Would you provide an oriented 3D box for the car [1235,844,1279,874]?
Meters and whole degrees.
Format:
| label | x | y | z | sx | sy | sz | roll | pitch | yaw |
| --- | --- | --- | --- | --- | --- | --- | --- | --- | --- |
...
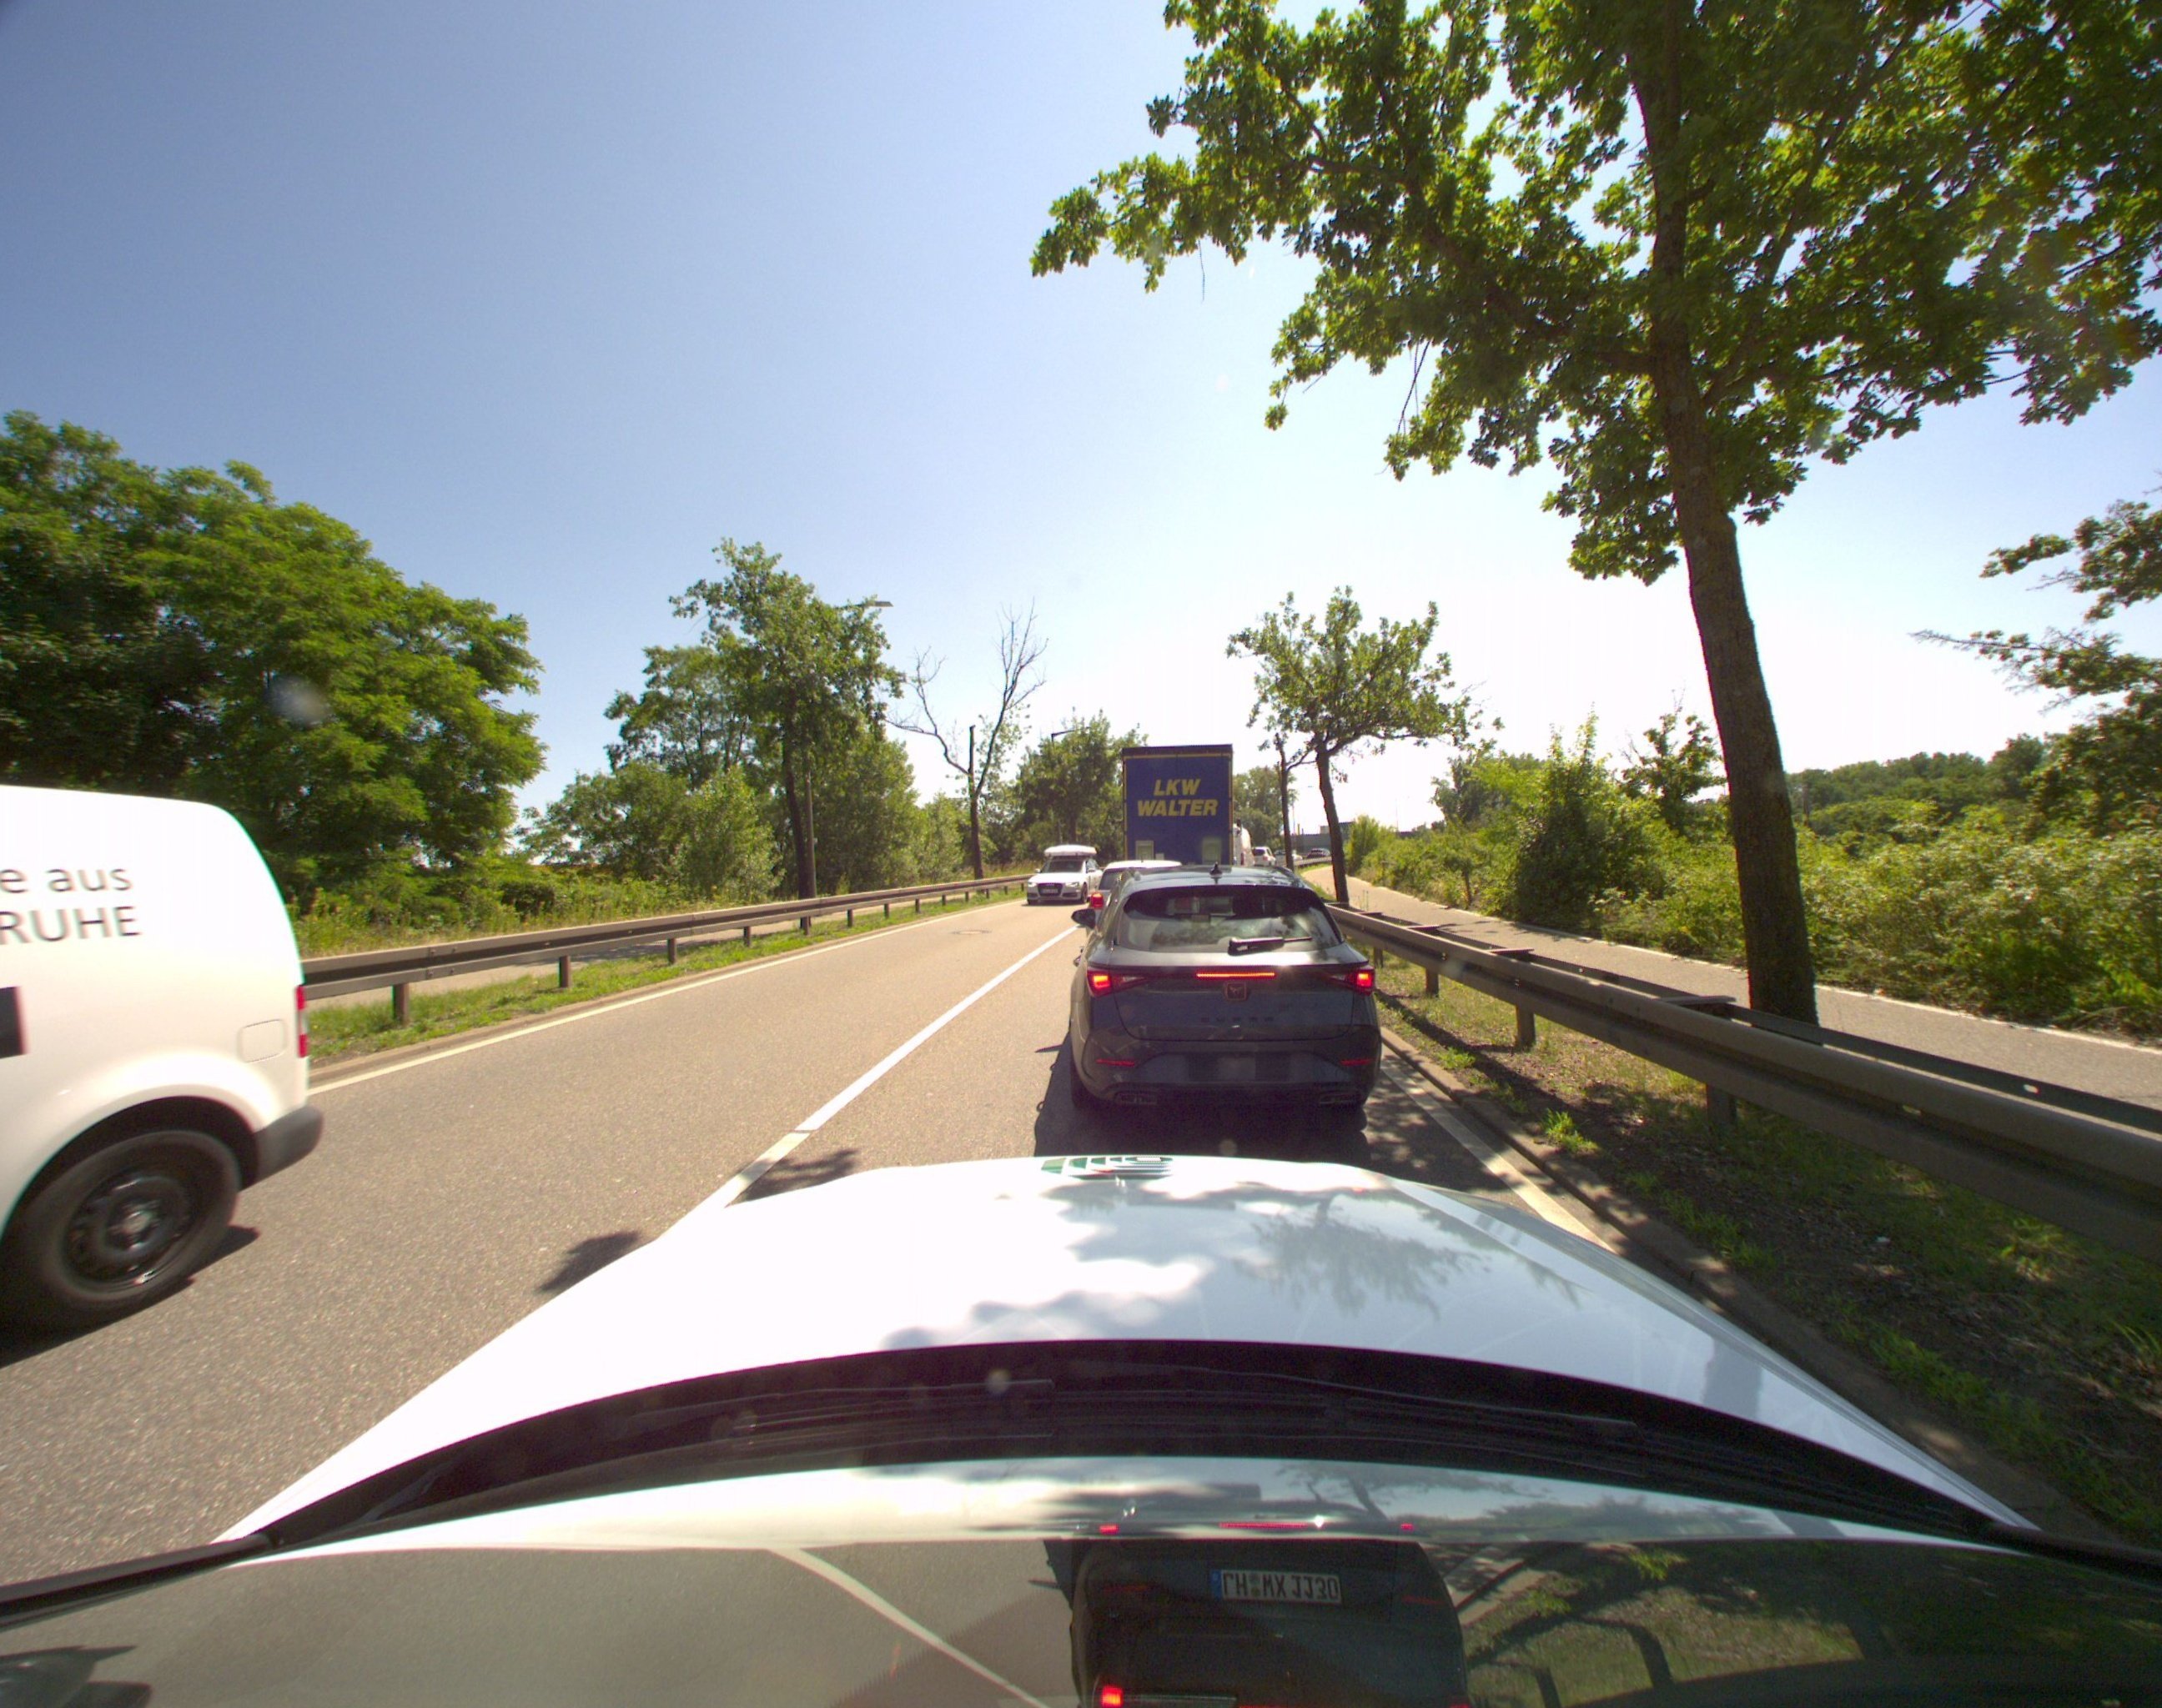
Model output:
| label | x | y | z | sx | sy | sz | roll | pitch | yaw |
| --- | --- | --- | --- | --- | --- | --- | --- | --- | --- |
| car | 10.769 | 0.294 | 49.615 | 1.977 | 1.712 | 4.643 | -1 | 0 | 19 |

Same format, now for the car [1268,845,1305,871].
| label | x | y | z | sx | sy | sz | roll | pitch | yaw |
| --- | --- | --- | --- | --- | --- | --- | --- | --- | --- |
| car | 15.015 | 0.264 | 59.330 | 1.976 | 1.808 | 4.870 | -1 | 0 | 21 |

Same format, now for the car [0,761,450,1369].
| label | x | y | z | sx | sy | sz | roll | pitch | yaw |
| --- | --- | --- | --- | --- | --- | --- | --- | --- | --- |
| car | -4.049 | 0.618 | 1.768 | 1.738 | 1.763 | 4.393 | -1 | 0 | 4 |

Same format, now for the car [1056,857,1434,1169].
| label | x | y | z | sx | sy | sz | roll | pitch | yaw |
| --- | --- | --- | --- | --- | --- | --- | --- | --- | --- |
| car | 0.838 | 0.751 | 5.733 | 1.737 | 1.432 | 3.882 | -1 | 0 | 2 |

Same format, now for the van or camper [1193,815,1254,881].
| label | x | y | z | sx | sy | sz | roll | pitch | yaw |
| --- | --- | --- | --- | --- | --- | --- | --- | --- | --- |
| van or camper | 7.171 | -0.252 | 40.424 | 2.448 | 2.998 | 6.109 | -1 | 0 | 14 |

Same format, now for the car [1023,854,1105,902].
| label | x | y | z | sx | sy | sz | roll | pitch | yaw |
| --- | --- | --- | --- | --- | --- | --- | --- | --- | --- |
| car | -0.458 | 0.730 | 26.595 | 1.808 | 1.421 | 4.478 | -1 | 0 | 10 |

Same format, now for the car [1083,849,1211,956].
| label | x | y | z | sx | sy | sz | roll | pitch | yaw |
| --- | --- | --- | --- | --- | --- | --- | --- | --- | --- |
| car | 1.053 | 0.688 | 13.560 | 1.802 | 1.508 | 4.003 | -1 | 0 | 3 |

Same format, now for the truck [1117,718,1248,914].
| label | x | y | z | sx | sy | sz | roll | pitch | yaw |
| --- | --- | --- | --- | --- | --- | --- | --- | --- | --- |
| truck | 3.711 | -0.839 | 26.968 | 2.932 | 4.449 | 16.843 | -1 | 0 | 10 |

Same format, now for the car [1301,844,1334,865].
| label | x | y | z | sx | sy | sz | roll | pitch | yaw |
| --- | --- | --- | --- | --- | --- | --- | --- | --- | --- |
| car | 20.773 | 0.026 | 71.378 | 1.975 | 1.717 | 4.897 | -1 | 0 | 26 |
